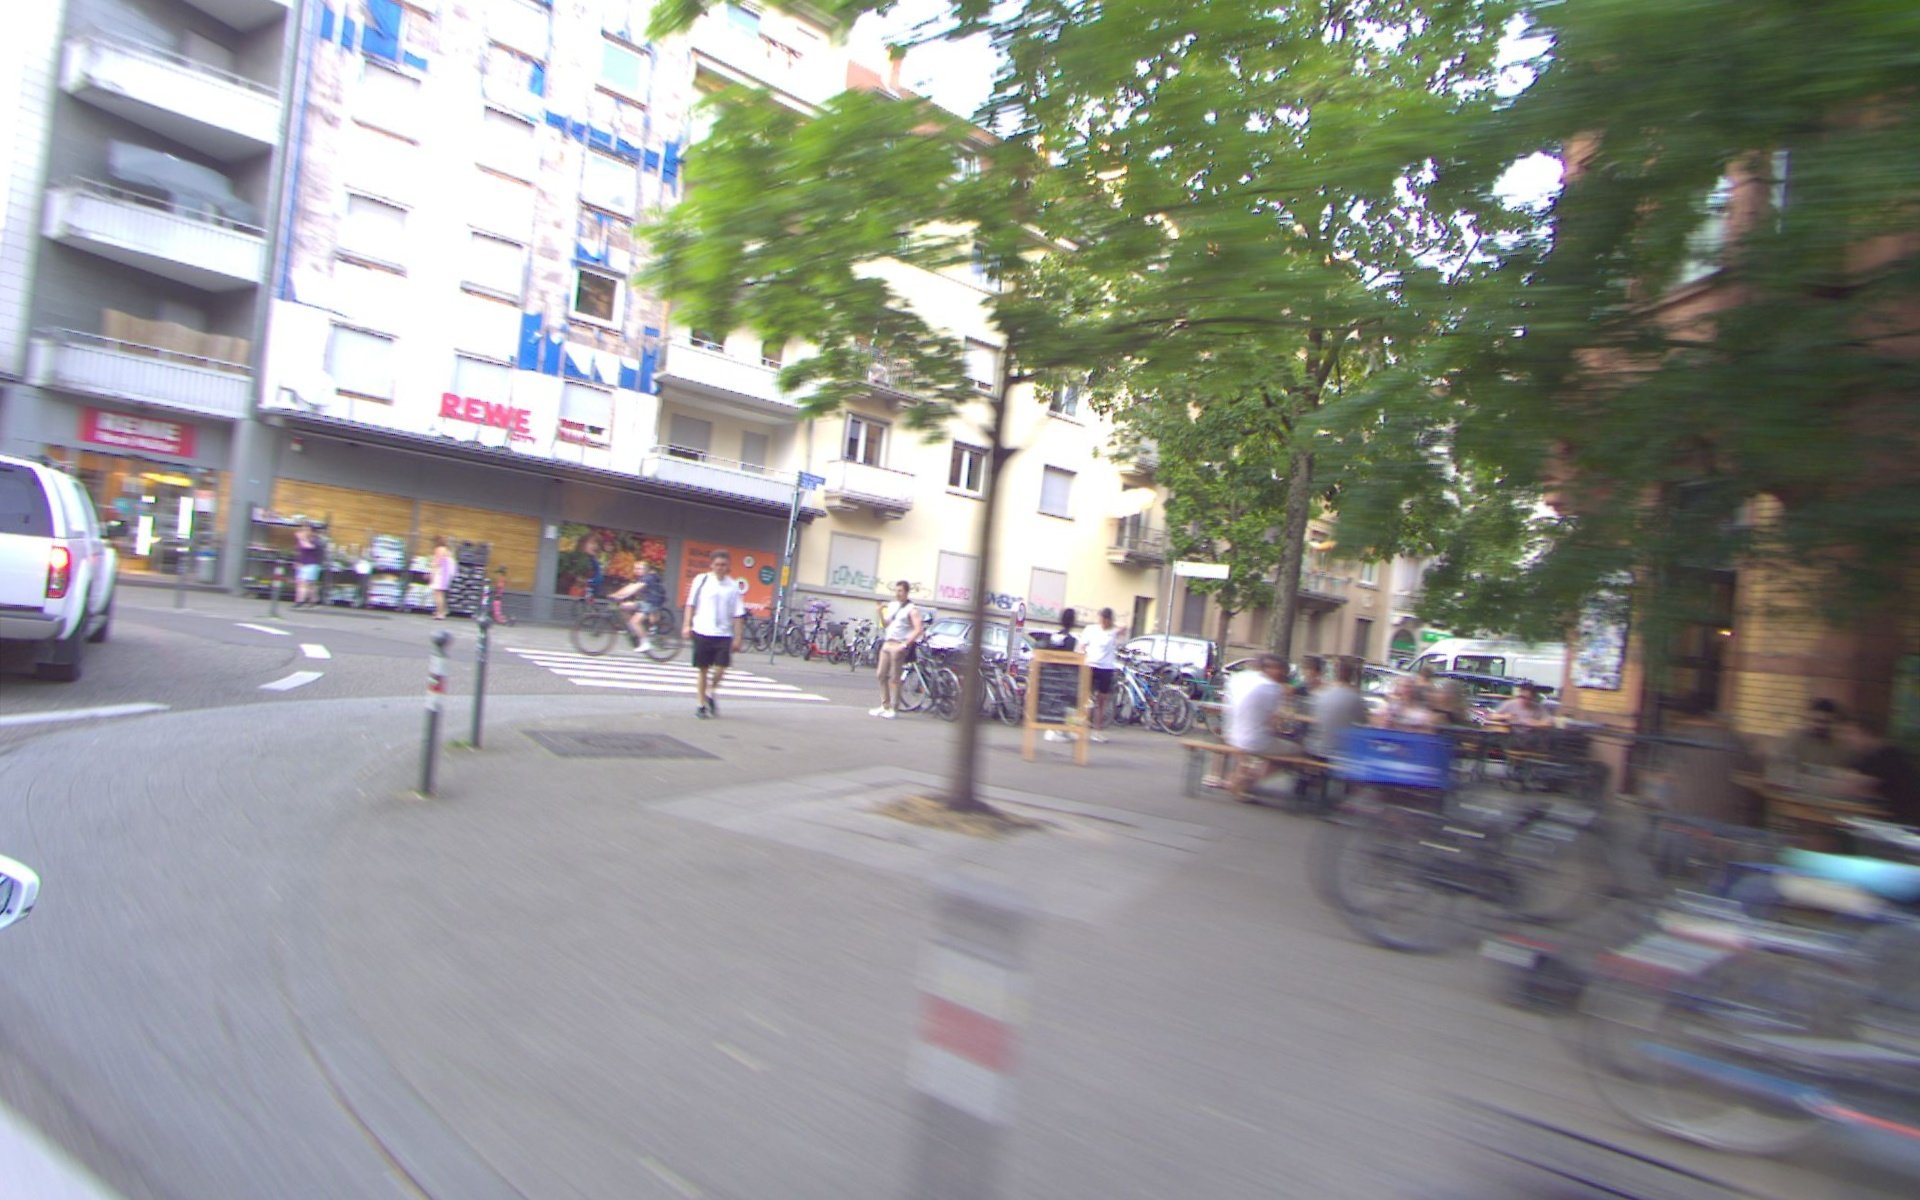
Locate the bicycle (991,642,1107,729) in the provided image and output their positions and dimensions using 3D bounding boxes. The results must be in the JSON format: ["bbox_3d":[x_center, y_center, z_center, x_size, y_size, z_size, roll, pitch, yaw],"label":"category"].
[{"bbox_3d":[1.386,1.339,16.028,0.432,1.147,2.013,8,-2,-40],"label":"bicycle"}]

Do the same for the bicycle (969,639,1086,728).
[{"bbox_3d":[1.019,1.279,15.725,0.432,1.147,2.013,8,-2,-40],"label":"bicycle"}]

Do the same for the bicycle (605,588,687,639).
[{"bbox_3d":[-7.844,0.343,25.198,1.868,1.038,0.374,9,-3,-38],"label":"bicycle"}]

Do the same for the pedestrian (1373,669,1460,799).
[{"bbox_3d":[5.276,1.534,11.620,0.728,1.361,0.626,6,-2,31],"label":"pedestrian"}]

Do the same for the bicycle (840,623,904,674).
[{"bbox_3d":[-2.050,1.166,23.789,0.483,1.038,2.016,6,-3,24],"label":"bicycle"}]

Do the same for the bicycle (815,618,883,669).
[{"bbox_3d":[-2.612,1.047,23.835,0.483,1.038,2.015,6,-3,27],"label":"bicycle"}]

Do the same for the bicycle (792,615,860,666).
[{"bbox_3d":[-3.182,0.989,24.092,0.483,1.038,2.015,6,-3,27],"label":"bicycle"}]

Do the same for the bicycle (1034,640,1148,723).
[{"bbox_3d":[2.141,1.331,16.736,0.432,1.147,2.013,8,-2,-40],"label":"bicycle"}]

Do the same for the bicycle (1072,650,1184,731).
[{"bbox_3d":[2.865,1.540,17.368,0.432,1.147,2.013,8,-2,-40],"label":"bicycle"}]

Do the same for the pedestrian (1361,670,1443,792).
[{"bbox_3d":[5.418,1.586,12.323,0.728,1.361,0.626,6,-2,31],"label":"pedestrian"}]

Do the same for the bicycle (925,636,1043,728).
[{"bbox_3d":[0.320,1.195,15.083,0.432,1.147,2.013,8,-2,-40],"label":"bicycle"}]

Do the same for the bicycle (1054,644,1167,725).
[{"bbox_3d":[2.516,1.406,17.065,0.432,1.147,2.013,8,-2,-40],"label":"bicycle"}]

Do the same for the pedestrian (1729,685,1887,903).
[{"bbox_3d":[6.075,1.358,7.234,0.608,1.425,0.515,6,-2,16],"label":"pedestrian"}]

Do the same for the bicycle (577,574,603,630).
[{"bbox_3d":[-8.689,0.056,23.655,0.344,1.217,1.804,7,-2,-17],"label":"bicycle"}]

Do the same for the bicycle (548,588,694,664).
[{"bbox_3d":[-5.927,0.481,17.735,0.780,1.086,2.275,7,-1,41],"label":"bicycle"}]

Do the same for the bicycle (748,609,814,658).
[{"bbox_3d":[-4.353,0.844,24.657,0.371,1.038,2.015,6,-3,27],"label":"bicycle"}]

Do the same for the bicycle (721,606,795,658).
[{"bbox_3d":[-4.668,0.758,23.370,1.653,1.038,0.373,9,-3,-45],"label":"bicycle"}]

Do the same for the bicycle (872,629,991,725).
[{"bbox_3d":[-0.442,1.076,14.420,0.432,1.147,2.013,8,-2,-40],"label":"bicycle"}]

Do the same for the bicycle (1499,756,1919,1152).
[{"bbox_3d":[2.992,1.233,3.547,1.736,1.077,0.598,6,2,1],"label":"bicycle"}]

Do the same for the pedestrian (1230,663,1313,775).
[{"bbox_3d":[3.803,1.443,12.278,0.728,1.246,0.626,6,-2,31],"label":"pedestrian"}]

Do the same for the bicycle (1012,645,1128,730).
[{"bbox_3d":[1.754,1.395,16.327,0.432,1.147,2.013,8,-2,-40],"label":"bicycle"}]

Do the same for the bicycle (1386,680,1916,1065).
[{"bbox_3d":[2.886,1.106,4.319,1.736,1.303,0.599,7,-2,1],"label":"bicycle"}]

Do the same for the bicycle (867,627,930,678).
[{"bbox_3d":[-1.412,1.241,23.490,0.483,1.038,2.016,6,-3,24],"label":"bicycle"}]

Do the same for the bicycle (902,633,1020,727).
[{"bbox_3d":[-0.024,1.144,14.764,0.432,1.147,2.013,8,-2,-40],"label":"bicycle"}]

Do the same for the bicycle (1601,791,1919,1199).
[{"bbox_3d":[2.966,1.241,2.913,1.736,1.076,0.599,7,-2,1],"label":"bicycle"}]

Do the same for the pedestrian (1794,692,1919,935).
[{"bbox_3d":[5.838,1.330,6.422,0.504,1.425,0.555,6,-2,16],"label":"pedestrian"}]

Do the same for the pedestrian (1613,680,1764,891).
[{"bbox_3d":[5.378,1.345,7.445,0.608,1.425,0.514,7,-1,-5],"label":"pedestrian"}]

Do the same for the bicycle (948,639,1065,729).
[{"bbox_3d":[0.675,1.254,15.411,0.432,1.147,2.013,8,-2,-40],"label":"bicycle"}]

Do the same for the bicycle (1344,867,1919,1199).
[{"bbox_3d":[1.381,1.111,1.482,1.524,1.076,0.365,6,-2,25],"label":"bicycle"}]

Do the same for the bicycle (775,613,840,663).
[{"bbox_3d":[-3.658,0.941,24.301,0.371,1.038,2.015,6,-3,27],"label":"bicycle"}]

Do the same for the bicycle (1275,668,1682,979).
[{"bbox_3d":[2.599,1.109,5.108,1.693,1.304,0.598,7,0,-9],"label":"bicycle"}]
